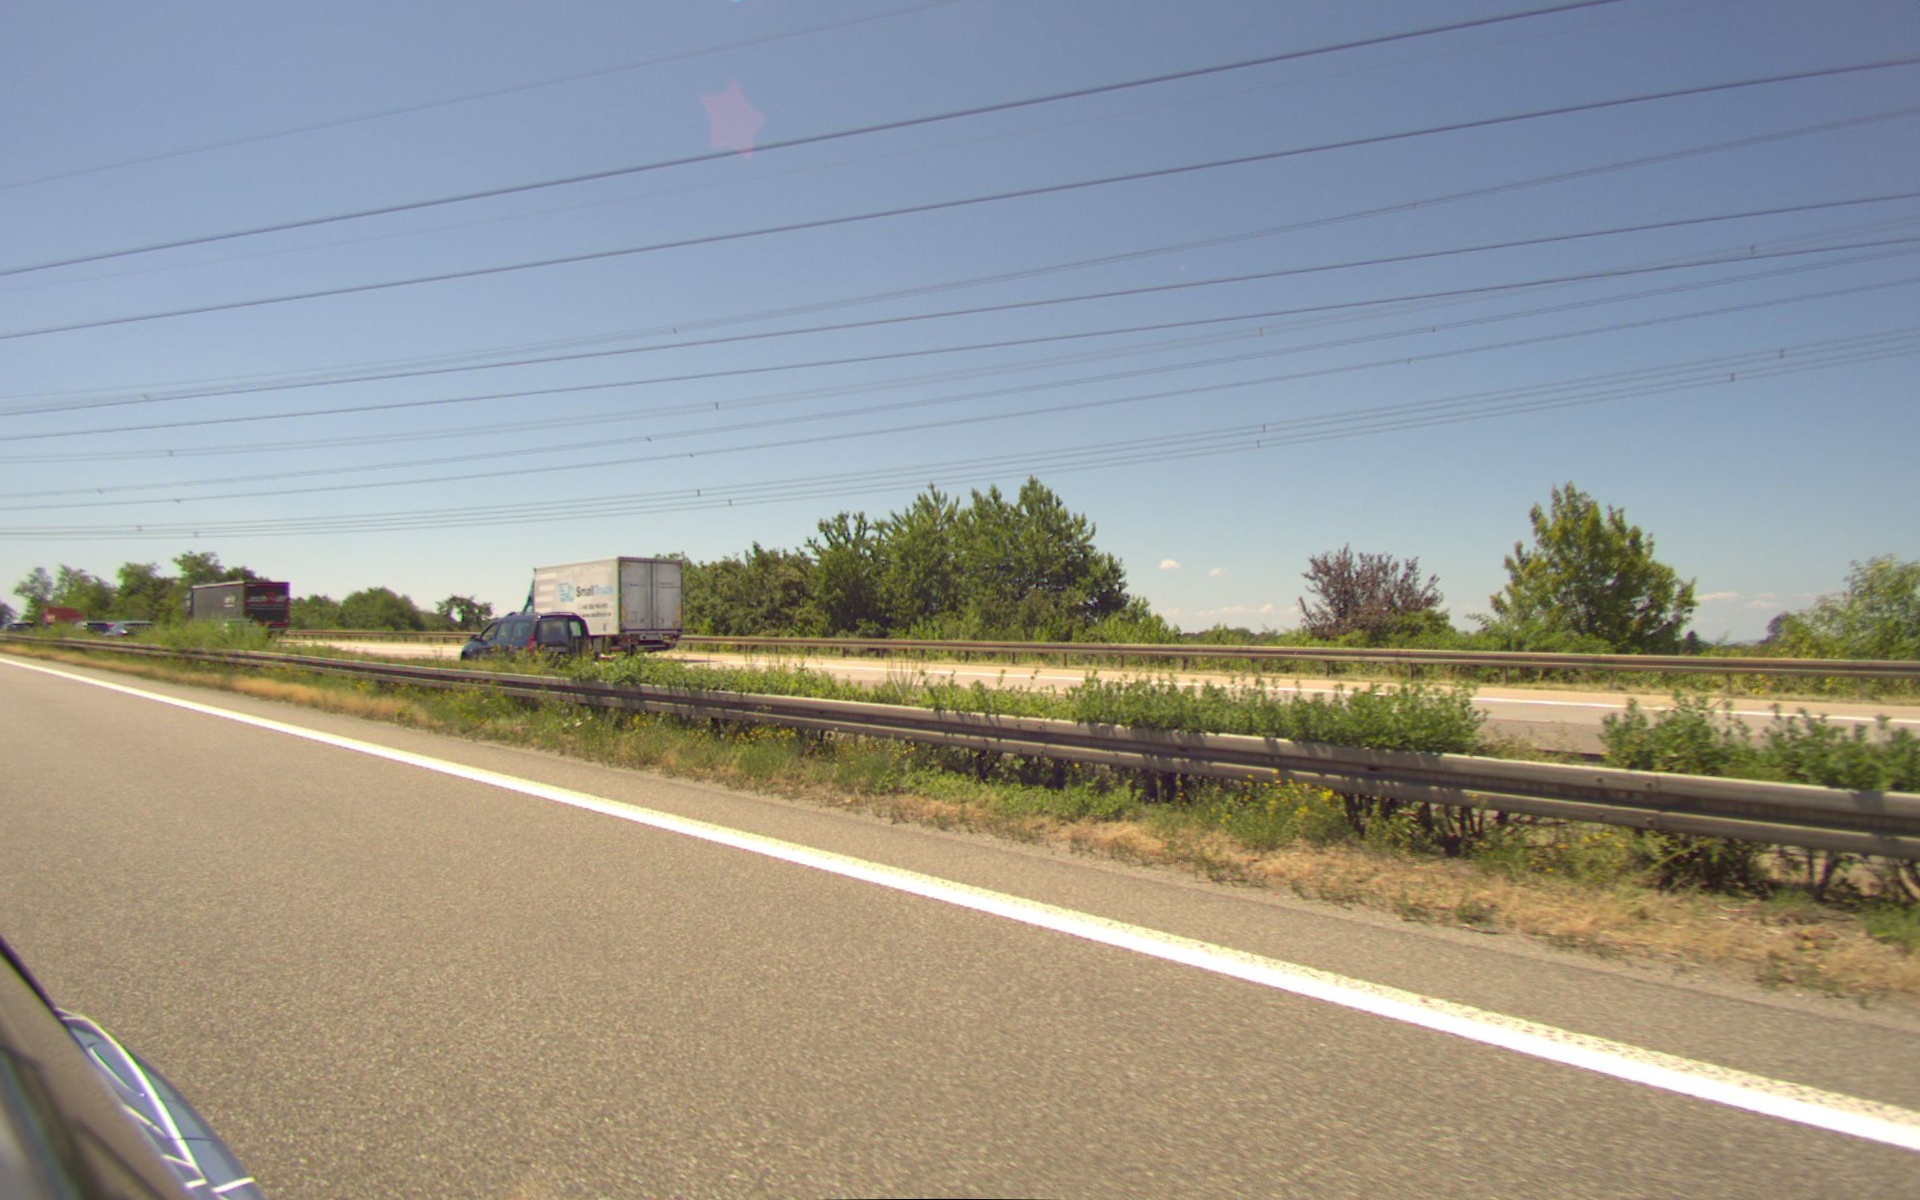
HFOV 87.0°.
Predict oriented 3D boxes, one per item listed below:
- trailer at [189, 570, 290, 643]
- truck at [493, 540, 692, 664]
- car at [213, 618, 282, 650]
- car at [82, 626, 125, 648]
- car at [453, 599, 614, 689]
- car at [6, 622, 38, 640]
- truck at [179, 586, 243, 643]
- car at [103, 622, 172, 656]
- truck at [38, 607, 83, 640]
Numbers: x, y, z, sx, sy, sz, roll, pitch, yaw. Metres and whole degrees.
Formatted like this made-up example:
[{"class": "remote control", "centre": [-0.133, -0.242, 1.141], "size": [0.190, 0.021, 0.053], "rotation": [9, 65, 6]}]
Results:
[{"class": "trailer", "centre": [-50.082, 0.604, 70.107], "size": [13.858, 4.586, 2.621], "rotation": [-2, -2, 41]}, {"class": "truck", "centre": [-13.642, 0.262, 36.966], "size": [9.666, 4.007, 2.427], "rotation": [-2, -4, 41]}, {"class": "car", "centre": [-38.341, 1.825, 54.395], "size": [5.015, 1.630, 1.972], "rotation": [-2, -2, 42]}, {"class": "car", "centre": [-67.563, 2.920, 79.791], "size": [5.015, 1.630, 1.924], "rotation": [-2, -2, 42]}, {"class": "car", "centre": [-10.490, 1.047, 24.767], "size": [4.284, 1.989, 1.972], "rotation": [-2, -2, 42]}, {"class": "car", "centre": [-97.014, 3.217, 104.632], "size": [4.366, 1.787, 1.951], "rotation": [-2, -2, 41]}, {"class": "truck", "centre": [-55.327, 1.112, 74.738], "size": [5.989, 4.013, 2.620], "rotation": [-2, -2, 41]}, {"class": "car", "centre": [-42.581, 2.026, 52.347], "size": [5.015, 1.630, 1.972], "rotation": [-2, -2, 42]}, {"class": "truck", "centre": [-101.350, 2.708, 114.001], "size": [8.528, 3.554, 2.741], "rotation": [-2, -2, 41]}]
